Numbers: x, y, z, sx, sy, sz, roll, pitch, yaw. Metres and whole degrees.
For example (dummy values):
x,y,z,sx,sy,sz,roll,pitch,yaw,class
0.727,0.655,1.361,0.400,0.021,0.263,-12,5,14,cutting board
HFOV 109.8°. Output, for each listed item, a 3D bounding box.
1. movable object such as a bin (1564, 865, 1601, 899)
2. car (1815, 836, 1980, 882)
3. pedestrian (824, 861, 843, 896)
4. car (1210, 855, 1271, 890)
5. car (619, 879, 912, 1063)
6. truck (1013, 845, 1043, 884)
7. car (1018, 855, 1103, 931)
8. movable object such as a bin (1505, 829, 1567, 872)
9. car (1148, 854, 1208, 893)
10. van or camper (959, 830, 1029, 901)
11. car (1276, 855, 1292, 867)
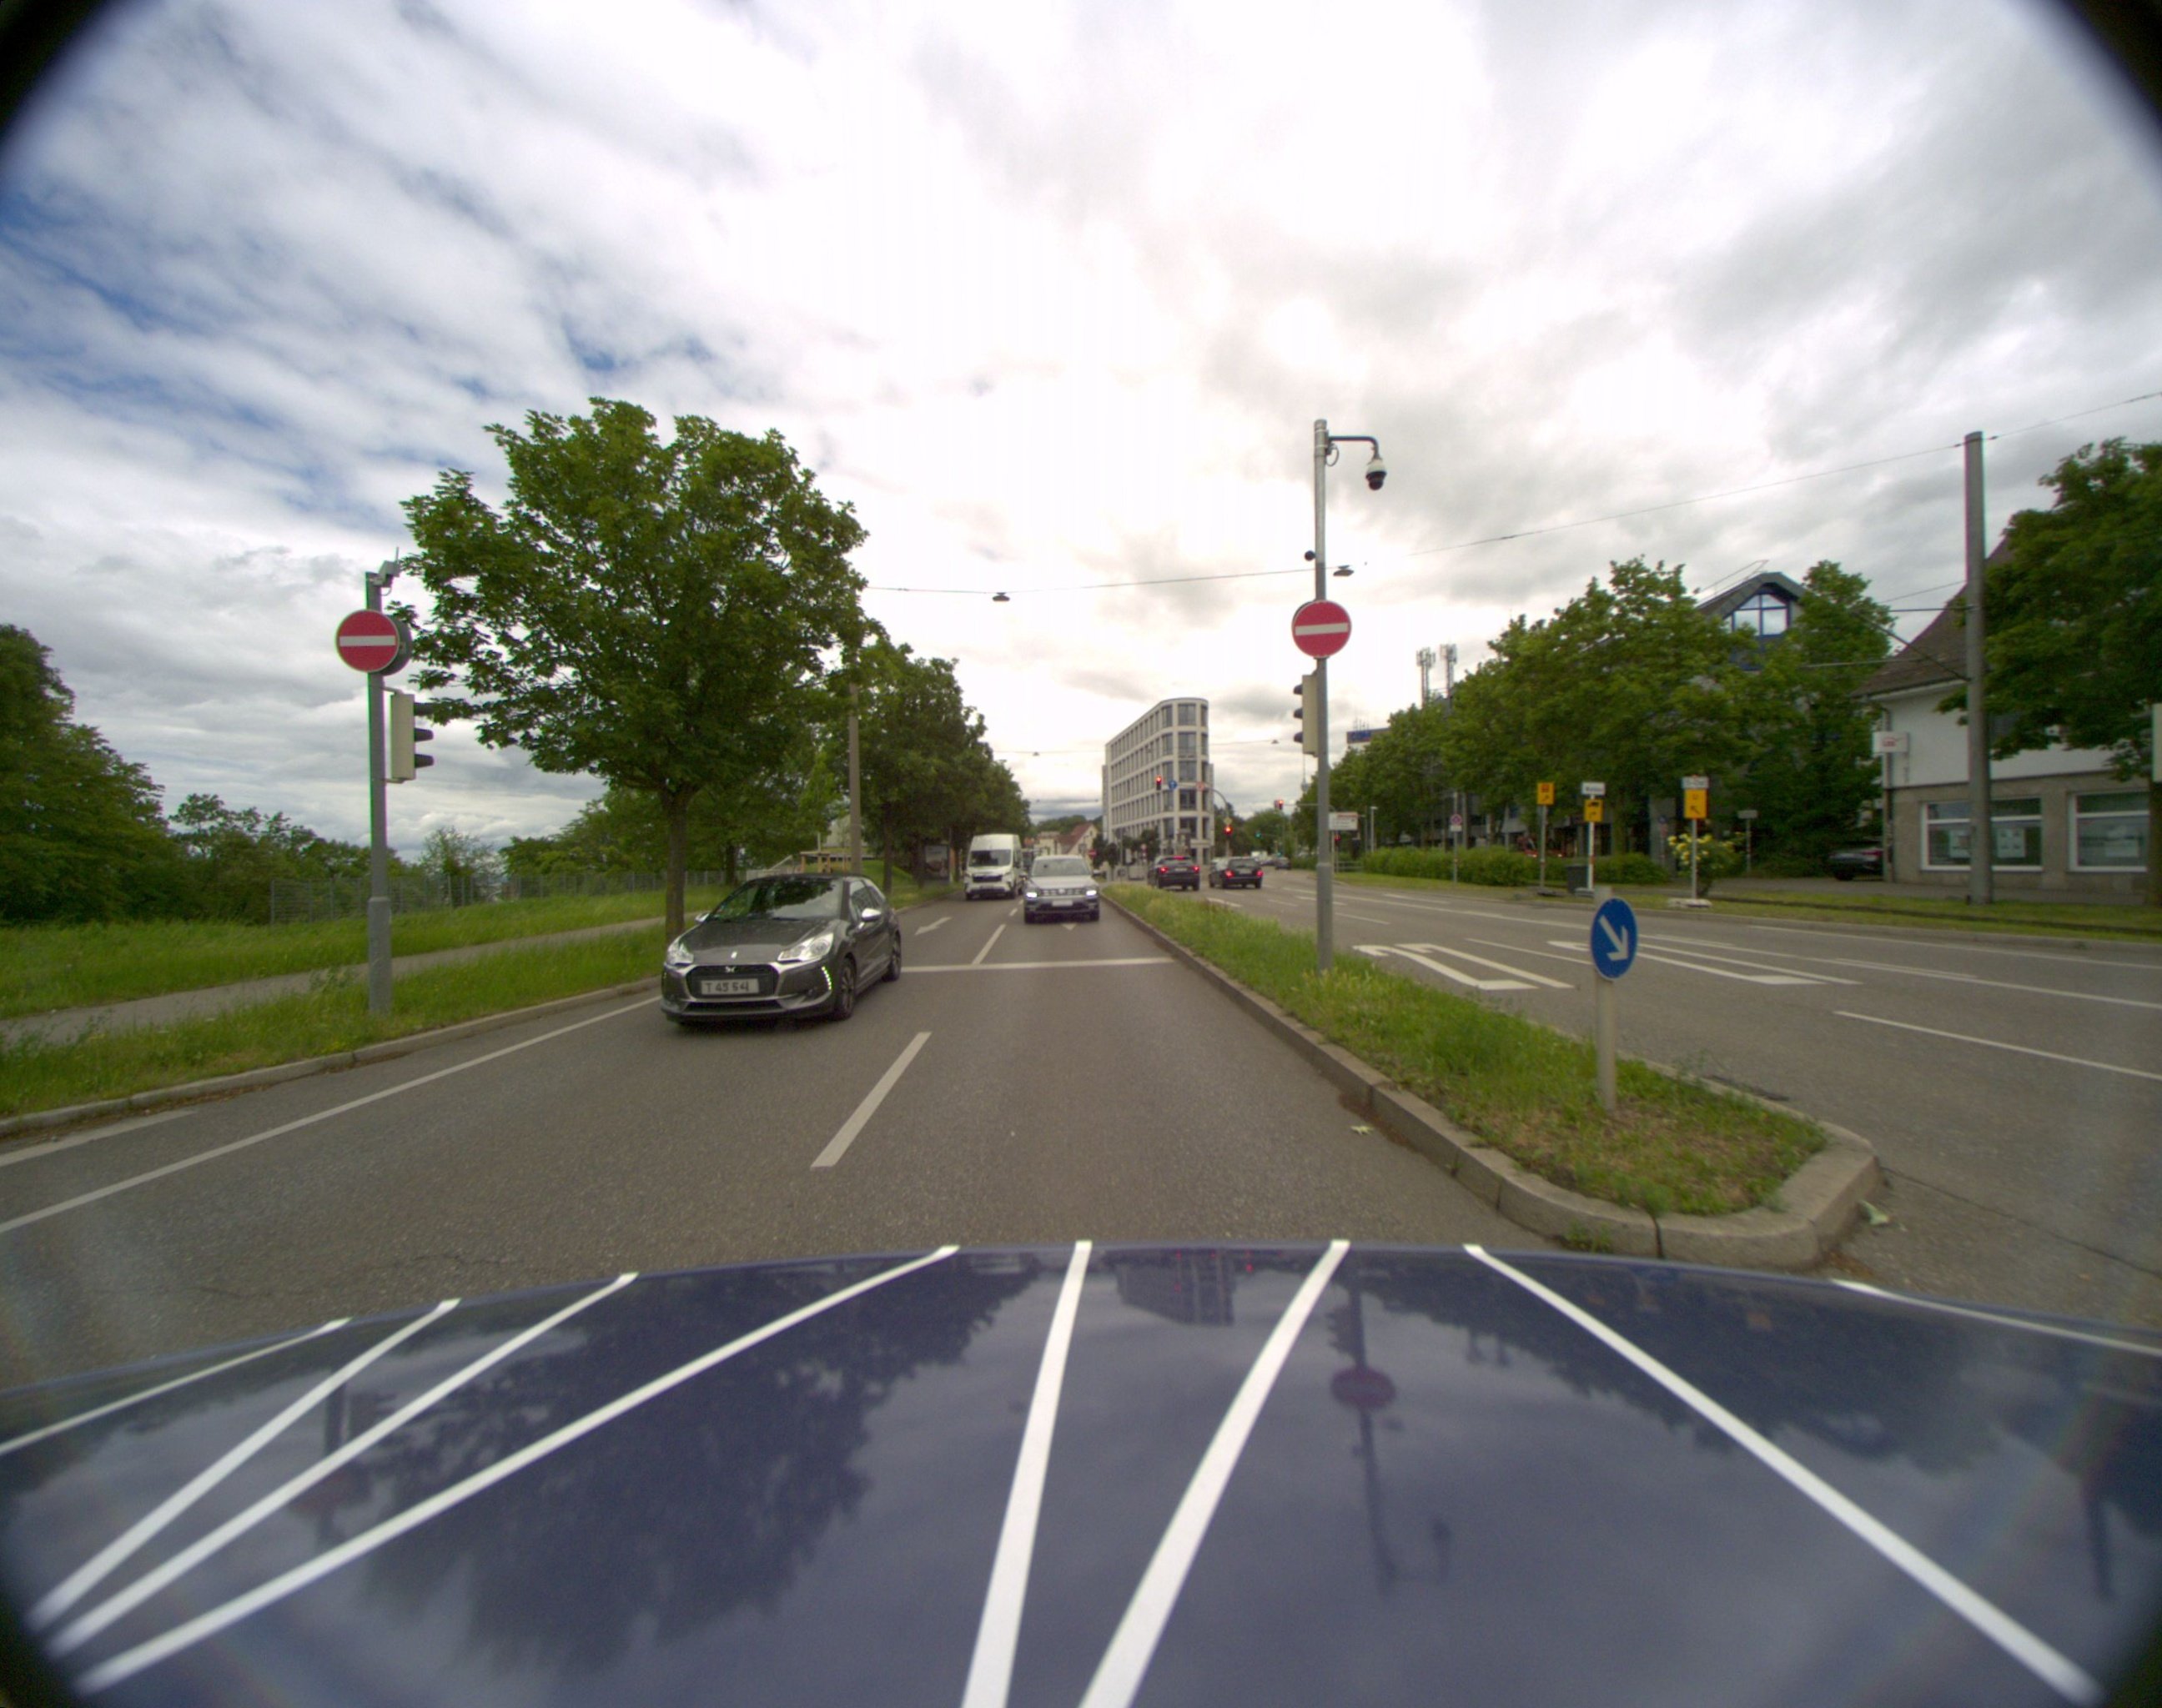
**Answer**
x,y,z,sx,sy,sz,roll,pitch,yaw,class
15.473,0.858,23.452,0.565,1.006,0.838,-1,0,0,movable object such as a bin
28.755,0.179,26.830,4.001,1.417,1.859,-2,-1,-5,car
-11.440,1.117,35.150,0.542,1.594,0.702,3,-1,-3,pedestrian
7.174,0.842,34.574,1.787,1.417,4.396,-2,-1,-1,car
-3.197,1.083,8.663,1.705,1.452,4.062,-2,-1,-2,car
-5.695,1.117,82.672,2.827,3.902,9.456,-2,-1,-3,truck
-0.412,0.911,19.443,1.833,1.635,4.327,-2,-1,2,car
28.179,-0.203,47.166,1.908,2.517,4.130,-1,0,9,movable object such as a bin
4.215,0.855,33.681,1.893,1.555,4.396,-2,-1,-2,car
-3.604,0.481,32.768,2.110,2.674,6.300,-2,-1,1,van or camper
25.925,0.918,97.230,1.786,1.528,4.401,-2,-1,12,car
